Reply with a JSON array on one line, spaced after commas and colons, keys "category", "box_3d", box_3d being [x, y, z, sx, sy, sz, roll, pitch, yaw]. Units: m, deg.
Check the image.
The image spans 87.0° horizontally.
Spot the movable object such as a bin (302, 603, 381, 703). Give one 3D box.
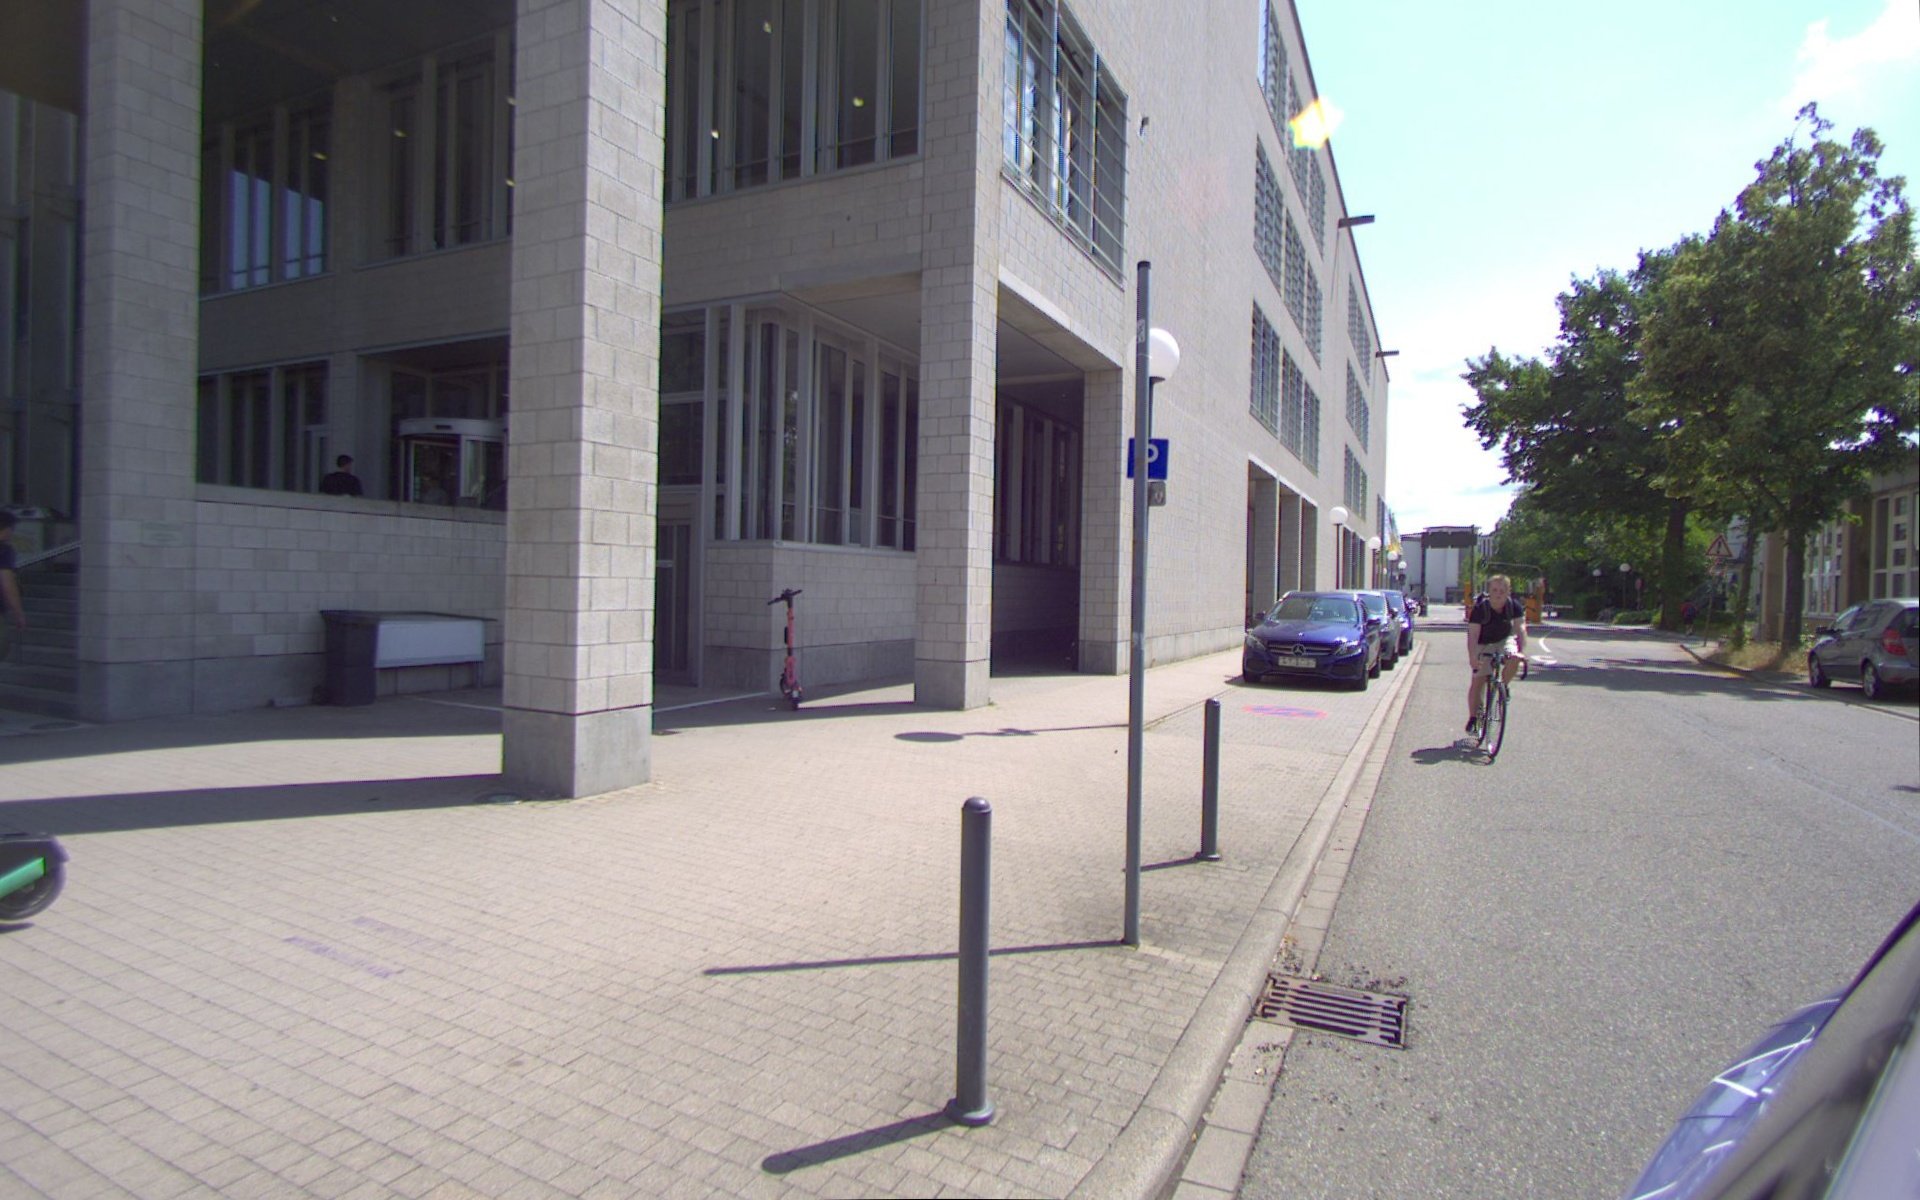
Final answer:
[{"category": "movable object such as a bin", "box_3d": [-6.097, 0.513, 9.987, 0.542, 0.950, 0.372, 1, 0, 8]}]

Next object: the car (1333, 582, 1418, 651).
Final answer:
[{"category": "car", "box_3d": [10.937, 0.383, 26.475, 1.833, 1.601, 4.098, 2, 1, 25]}]

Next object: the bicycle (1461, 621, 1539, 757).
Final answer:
[{"category": "bicycle", "box_3d": [5.222, 0.800, 9.807, 0.599, 1.122, 1.812, 1, 1, 28]}]

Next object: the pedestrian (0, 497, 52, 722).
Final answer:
[{"category": "pedestrian", "box_3d": [-8.090, 0.070, 8.325, 0.580, 1.825, 0.684, 2, 0, 7]}]

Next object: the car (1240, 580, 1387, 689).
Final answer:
[{"category": "car", "box_3d": [5.880, 0.468, 16.542, 1.833, 1.494, 4.098, 2, 1, 25]}]

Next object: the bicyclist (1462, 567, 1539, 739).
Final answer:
[{"category": "bicyclist", "box_3d": [5.110, 0.471, 9.584, 0.599, 1.554, 0.720, 1, 0, 28]}]

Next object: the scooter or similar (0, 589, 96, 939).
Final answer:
[{"category": "scooter or similar", "box_3d": [-3.570, 0.551, 3.229, 0.441, 1.165, 1.146, 2, 1, 31]}]

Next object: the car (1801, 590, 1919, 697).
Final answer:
[{"category": "car", "box_3d": [15.655, 0.644, 16.618, 1.832, 1.598, 4.098, 0, 0, 25]}]

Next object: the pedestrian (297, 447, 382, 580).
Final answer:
[{"category": "pedestrian", "box_3d": [-8.919, -1.213, 14.541, 0.876, 1.826, 0.695, 2, 1, 32]}]

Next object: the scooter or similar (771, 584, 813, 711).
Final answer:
[{"category": "scooter or similar", "box_3d": [-1.750, 0.457, 10.638, 0.351, 1.239, 1.430, 2, 1, -7]}]

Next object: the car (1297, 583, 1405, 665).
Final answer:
[{"category": "car", "box_3d": [8.314, 0.440, 21.327, 1.833, 1.494, 4.098, 2, 1, 25]}]
